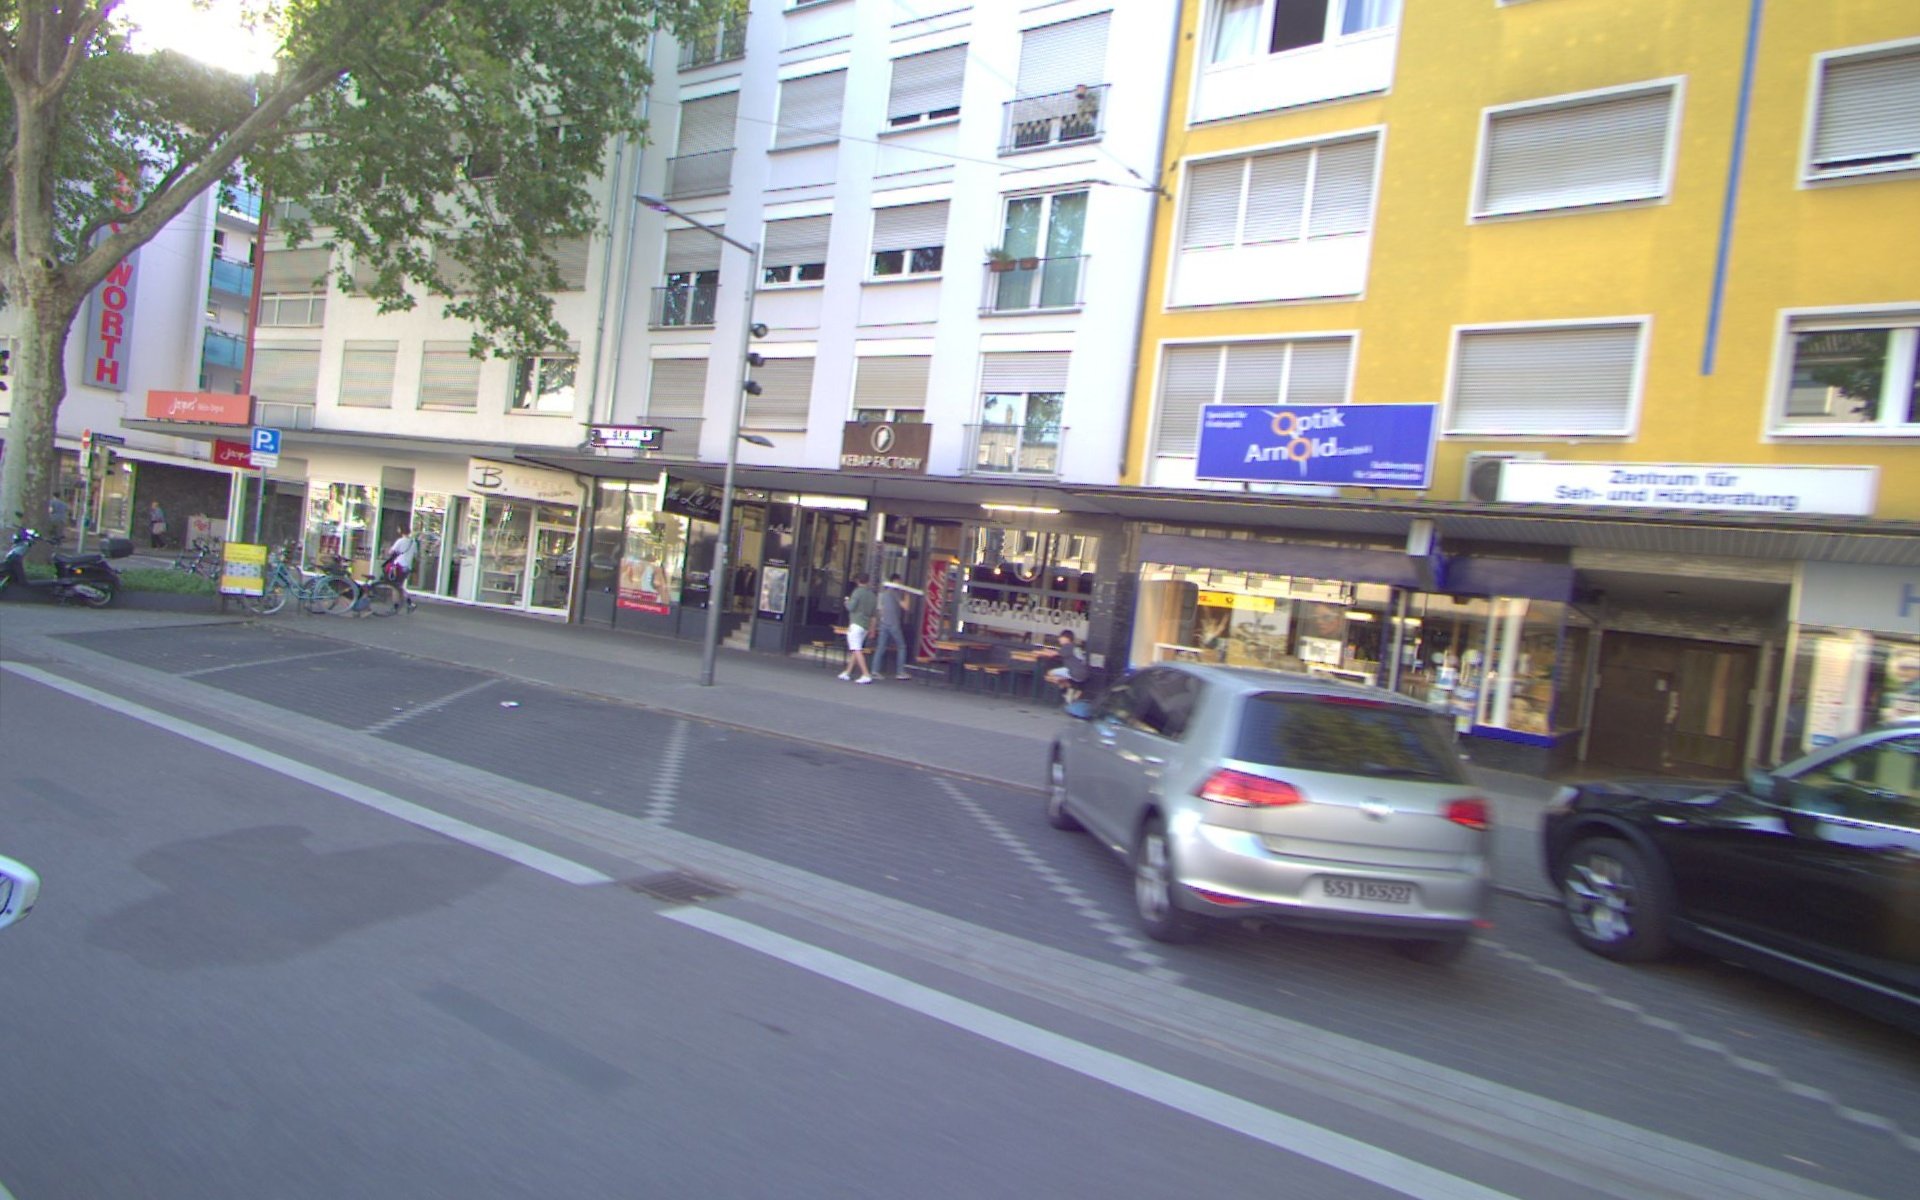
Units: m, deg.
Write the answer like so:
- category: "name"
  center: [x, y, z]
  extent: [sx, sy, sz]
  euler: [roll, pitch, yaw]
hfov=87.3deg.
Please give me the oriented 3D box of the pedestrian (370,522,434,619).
- category: "pedestrian"
  center: [-11.619, -0.611, 20.955]
  extent: [0.809, 1.900, 0.645]
  euler: [7, 1, 18]

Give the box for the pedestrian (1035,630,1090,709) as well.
- category: "pedestrian"
  center: [1.621, 1.097, 15.904]
  extent: [0.615, 1.171, 0.418]
  euler: [7, 1, 35]

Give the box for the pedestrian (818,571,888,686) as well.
- category: "pedestrian"
  center: [-1.783, 0.466, 16.778]
  extent: [0.776, 1.816, 0.705]
  euler: [7, 4, 37]

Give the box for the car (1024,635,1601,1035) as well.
- category: "car"
  center: [1.713, 1.131, 6.515]
  extent: [1.778, 1.469, 4.173]
  euler: [6, 0, -6]

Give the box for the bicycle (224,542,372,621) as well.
- category: "bicycle"
  center: [-12.213, -0.317, 18.623]
  extent: [0.818, 1.248, 2.080]
  euler: [7, 1, 36]

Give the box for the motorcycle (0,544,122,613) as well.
- category: "motorcycle"
  center: [-13.591, -0.317, 14.978]
  extent: [0.535, 0.903, 1.573]
  euler: [7, 0, 28]

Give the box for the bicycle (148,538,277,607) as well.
- category: "bicycle"
  center: [-14.477, -0.514, 19.529]
  extent: [0.701, 1.205, 1.872]
  euler: [7, 3, 39]

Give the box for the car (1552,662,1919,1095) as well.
- category: "car"
  center: [5.028, 1.358, 4.463]
  extent: [1.779, 1.702, 4.145]
  euler: [6, 0, -9]

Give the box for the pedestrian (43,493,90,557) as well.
- category: "pedestrian"
  center: [-27.075, -2.264, 30.488]
  extent: [0.751, 1.816, 0.781]
  euler: [7, 1, 31]

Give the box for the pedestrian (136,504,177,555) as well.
- category: "pedestrian"
  center: [-29.332, -2.578, 36.723]
  extent: [0.820, 1.700, 0.749]
  euler: [9, 2, 25]

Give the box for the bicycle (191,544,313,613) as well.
- category: "bicycle"
  center: [-13.499, -0.392, 19.240]
  extent: [0.660, 1.205, 1.788]
  euler: [6, 2, 23]

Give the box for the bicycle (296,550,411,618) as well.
- category: "bicycle"
  center: [-11.917, -0.293, 19.804]
  extent: [0.668, 1.169, 1.761]
  euler: [7, 2, 40]

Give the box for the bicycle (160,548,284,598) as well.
- category: "bicycle"
  center: [-14.897, -0.538, 20.349]
  extent: [0.701, 0.775, 1.874]
  euler: [7, 0, 39]

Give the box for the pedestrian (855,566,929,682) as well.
- category: "pedestrian"
  center: [-1.184, 0.432, 17.511]
  extent: [0.724, 1.900, 0.912]
  euler: [7, 1, 28]
